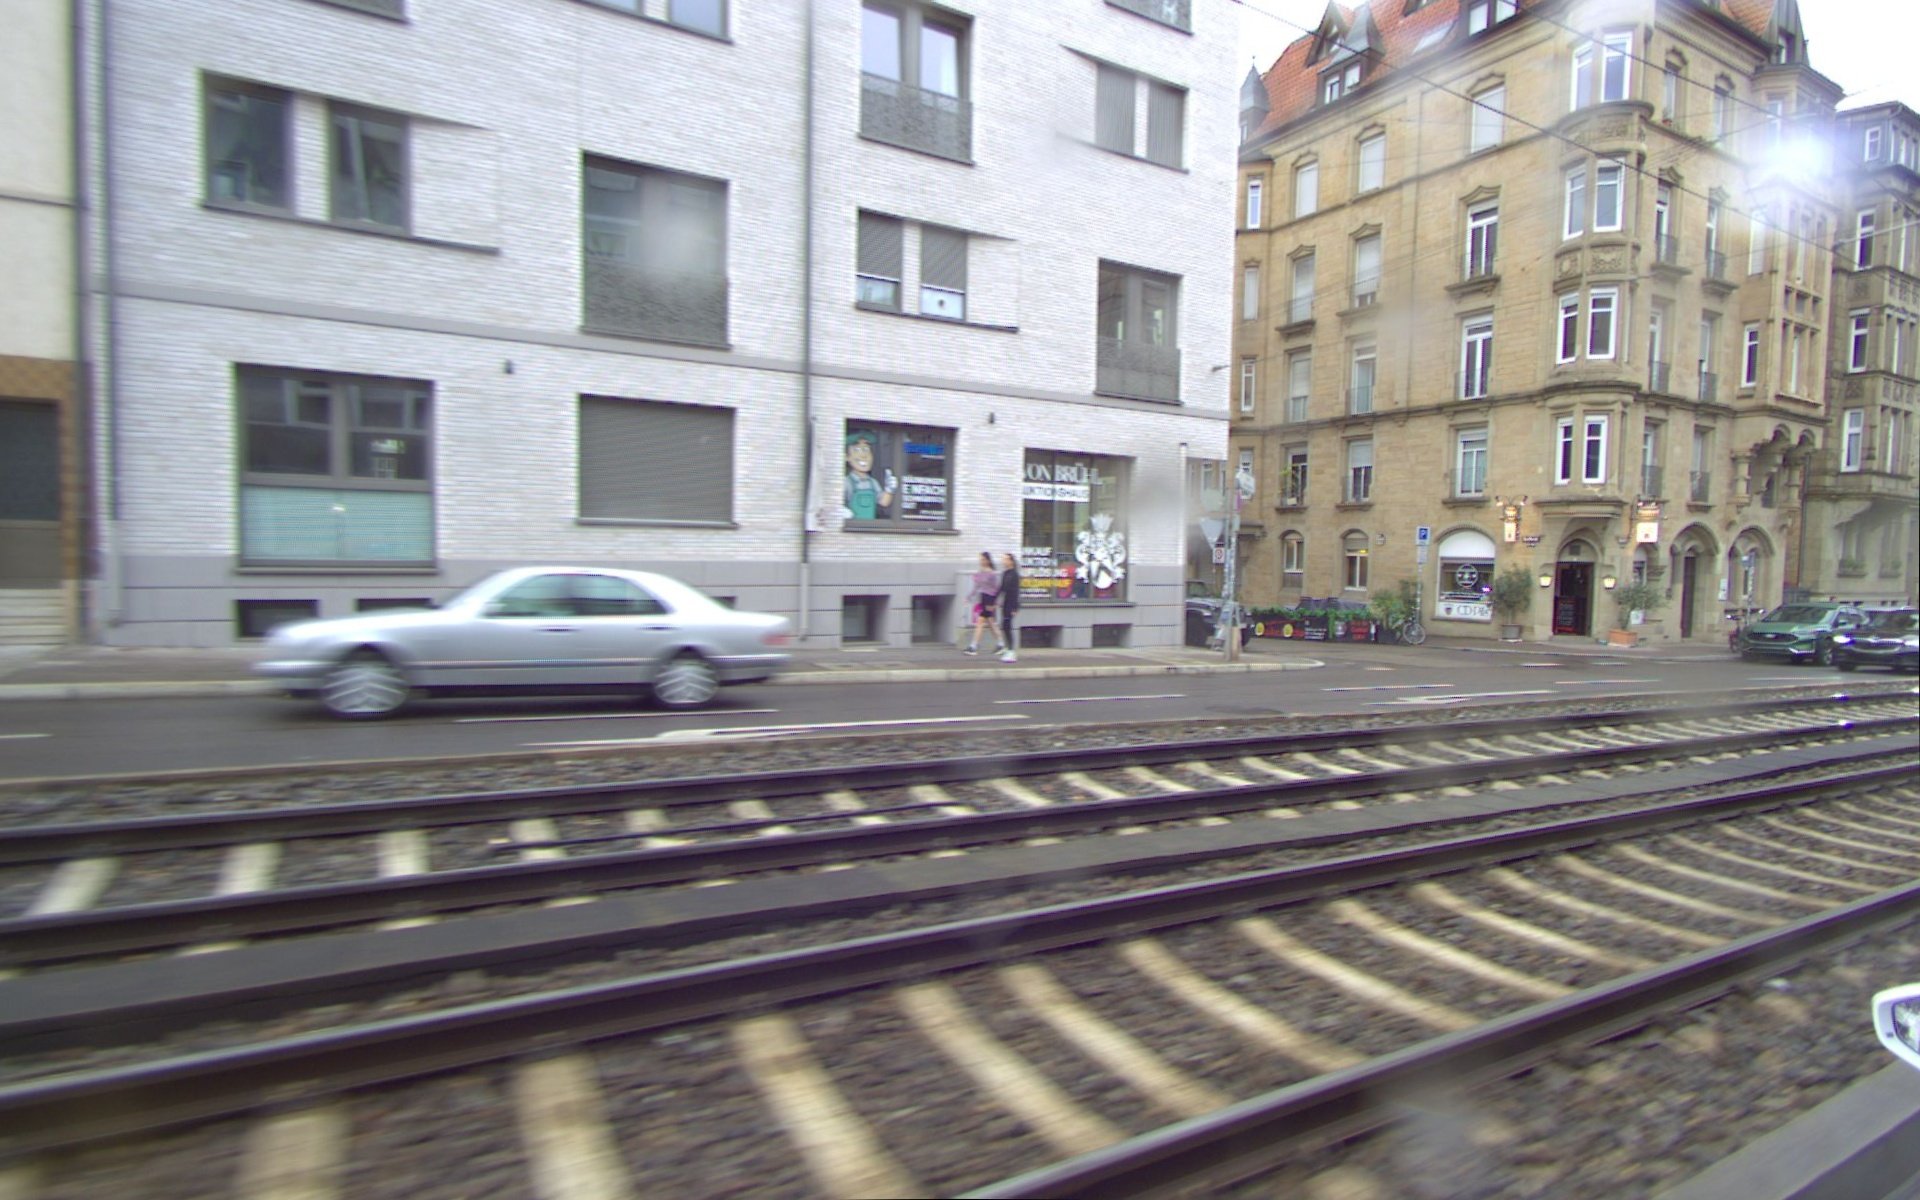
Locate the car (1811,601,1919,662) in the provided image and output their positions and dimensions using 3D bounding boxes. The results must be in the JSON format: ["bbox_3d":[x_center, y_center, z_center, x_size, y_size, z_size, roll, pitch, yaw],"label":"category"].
[{"bbox_3d":[27.472,0.925,30.053,4.267,1.674,1.849,1,0,-32],"label":"car"}]

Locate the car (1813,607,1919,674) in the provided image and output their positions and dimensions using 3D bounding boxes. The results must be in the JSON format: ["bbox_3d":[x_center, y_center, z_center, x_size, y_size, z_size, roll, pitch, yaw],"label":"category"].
[{"bbox_3d":[22.911,0.945,24.164,4.799,1.477,2.079,1,0,-29],"label":"car"}]

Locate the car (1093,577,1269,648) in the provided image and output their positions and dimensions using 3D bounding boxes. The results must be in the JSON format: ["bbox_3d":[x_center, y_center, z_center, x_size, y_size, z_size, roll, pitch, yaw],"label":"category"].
[{"bbox_3d":[5.972,0.272,27.681,2.013,1.751,4.664,1,1,-33],"label":"car"}]

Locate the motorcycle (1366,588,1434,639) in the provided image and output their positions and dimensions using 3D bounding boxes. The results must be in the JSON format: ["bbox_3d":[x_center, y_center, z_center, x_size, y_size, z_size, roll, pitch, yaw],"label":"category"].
[{"bbox_3d":[14.529,0.437,33.196,0.616,1.641,2.064,1,0,-31],"label":"motorcycle"}]

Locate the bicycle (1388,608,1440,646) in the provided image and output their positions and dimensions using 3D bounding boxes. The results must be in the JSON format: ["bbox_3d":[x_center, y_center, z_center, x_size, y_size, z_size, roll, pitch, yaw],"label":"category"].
[{"bbox_3d":[13.902,0.810,30.803,0.608,1.134,2.137,1,-1,-1],"label":"bicycle"}]

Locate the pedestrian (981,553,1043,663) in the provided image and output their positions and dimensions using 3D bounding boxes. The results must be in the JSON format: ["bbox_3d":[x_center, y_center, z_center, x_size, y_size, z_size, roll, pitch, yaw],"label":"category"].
[{"bbox_3d":[0.847,0.128,16.484,0.736,1.741,0.599,1,4,-27],"label":"pedestrian"}]

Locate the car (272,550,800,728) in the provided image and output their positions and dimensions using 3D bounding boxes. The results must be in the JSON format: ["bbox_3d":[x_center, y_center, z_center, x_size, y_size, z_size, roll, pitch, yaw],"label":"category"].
[{"bbox_3d":[-4.106,0.344,10.201,4.587,1.481,1.705,1,1,-30],"label":"car"}]

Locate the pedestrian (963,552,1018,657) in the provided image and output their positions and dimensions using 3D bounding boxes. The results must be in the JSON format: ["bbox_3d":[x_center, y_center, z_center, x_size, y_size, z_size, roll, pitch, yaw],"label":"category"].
[{"bbox_3d":[0.519,0.065,17.236,0.649,1.741,0.599,1,4,-27],"label":"pedestrian"}]

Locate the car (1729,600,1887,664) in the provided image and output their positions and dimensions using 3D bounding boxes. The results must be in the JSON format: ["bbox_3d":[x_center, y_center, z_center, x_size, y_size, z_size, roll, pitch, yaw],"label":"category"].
[{"bbox_3d":[23.173,0.848,27.430,4.375,1.623,1.850,1,0,-29],"label":"car"}]
